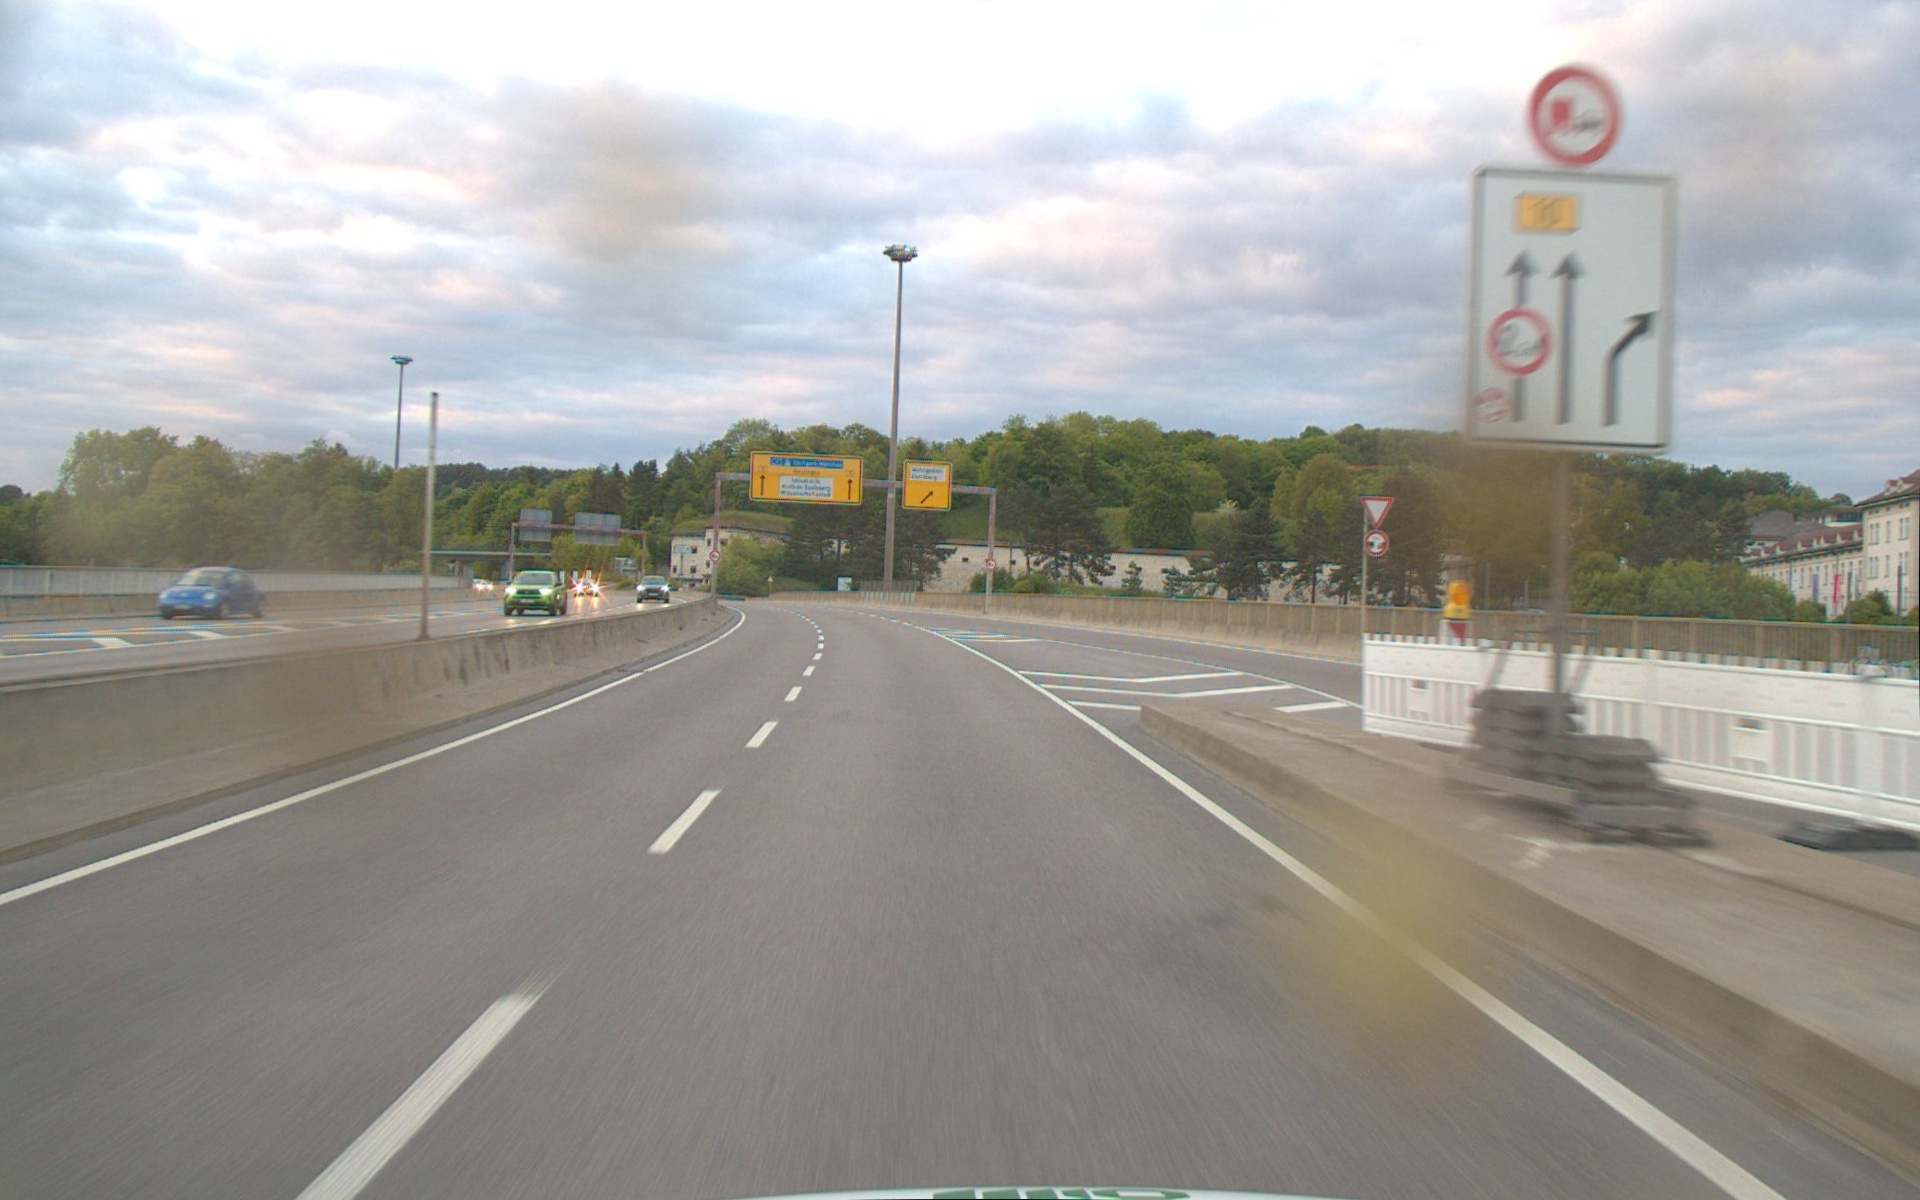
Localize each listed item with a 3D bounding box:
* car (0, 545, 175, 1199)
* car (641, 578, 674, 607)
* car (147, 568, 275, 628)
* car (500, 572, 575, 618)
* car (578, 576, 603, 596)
[{"bbox_3d":[-2.703,0.661,1.611,1.656,1.564,4.782,1,0,-1],"label":"car"},{"bbox_3d":[-17.275,-0.418,94.610,1.778,1.561,4.536,2,0,-10],"label":"car"},{"bbox_3d":[-21.542,-0.063,47.744,1.859,1.624,4.161,2,0,-2],"label":"car"},{"bbox_3d":[-14.799,-0.168,58.158,1.676,1.520,4.079,2,0,-2],"label":"car"},{"bbox_3d":[-29.369,-1.122,131.477,1.702,1.502,4.206,2,0,-16],"label":"car"}]
